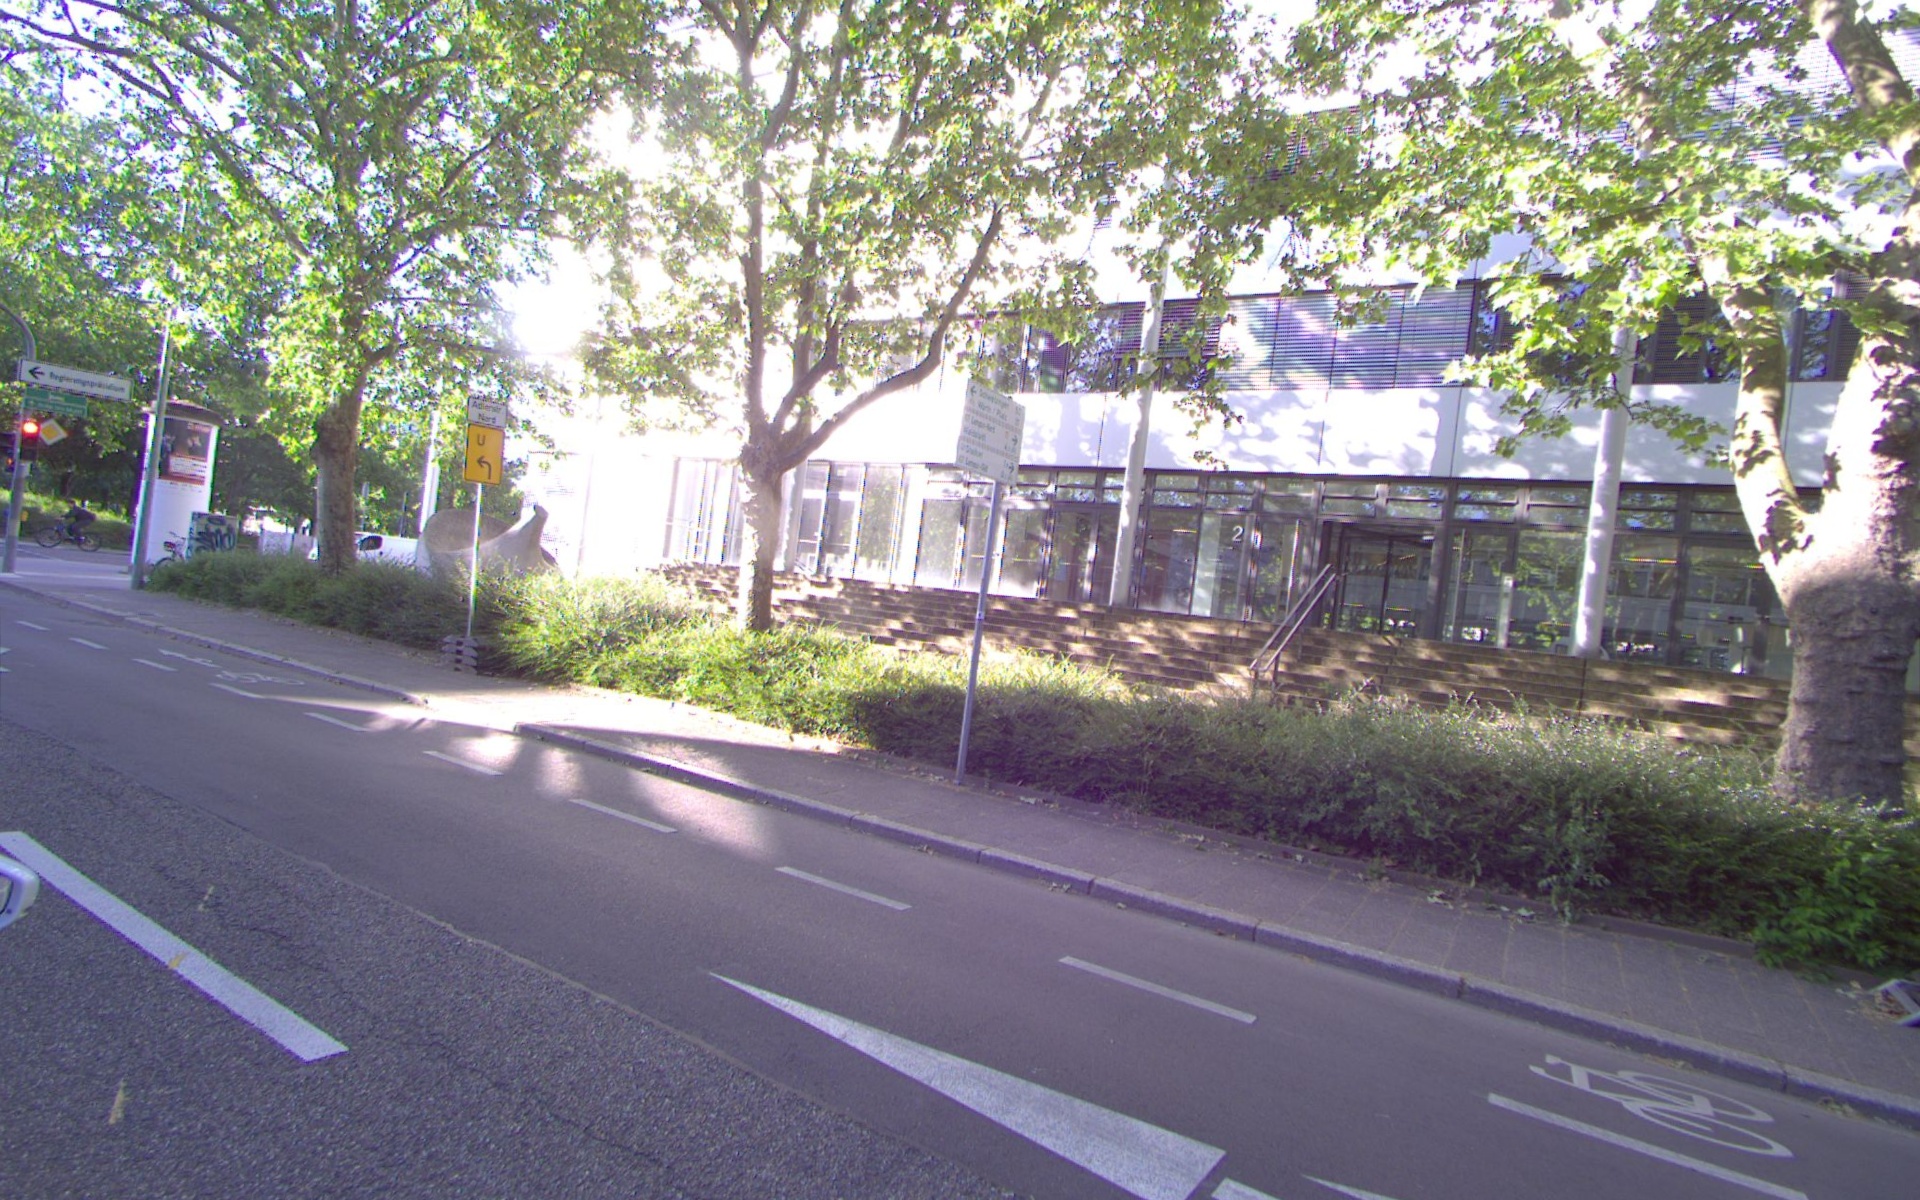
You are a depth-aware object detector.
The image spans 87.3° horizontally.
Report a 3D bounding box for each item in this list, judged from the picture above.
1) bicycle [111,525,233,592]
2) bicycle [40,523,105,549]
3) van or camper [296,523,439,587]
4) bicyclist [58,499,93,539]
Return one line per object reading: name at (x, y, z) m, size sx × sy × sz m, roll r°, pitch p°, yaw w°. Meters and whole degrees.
bicycle at (-16.167, -0.834, 20.685) m, size 0.502 × 1.110 × 1.806 m, roll 7°, pitch -1°, yaw 34°
bicycle at (-30.900, -2.216, 35.033) m, size 0.488 × 0.642 × 1.588 m, roll 7°, pitch -1°, yaw 35°
van or camper at (-24.475, -1.814, 41.740) m, size 1.966 × 1.964 × 4.589 m, roll 7°, pitch -1°, yaw 30°
bicyclist at (-30.805, -2.806, 35.043) m, size 0.450 × 1.275 × 0.705 m, roll 7°, pitch 0°, yaw 34°
